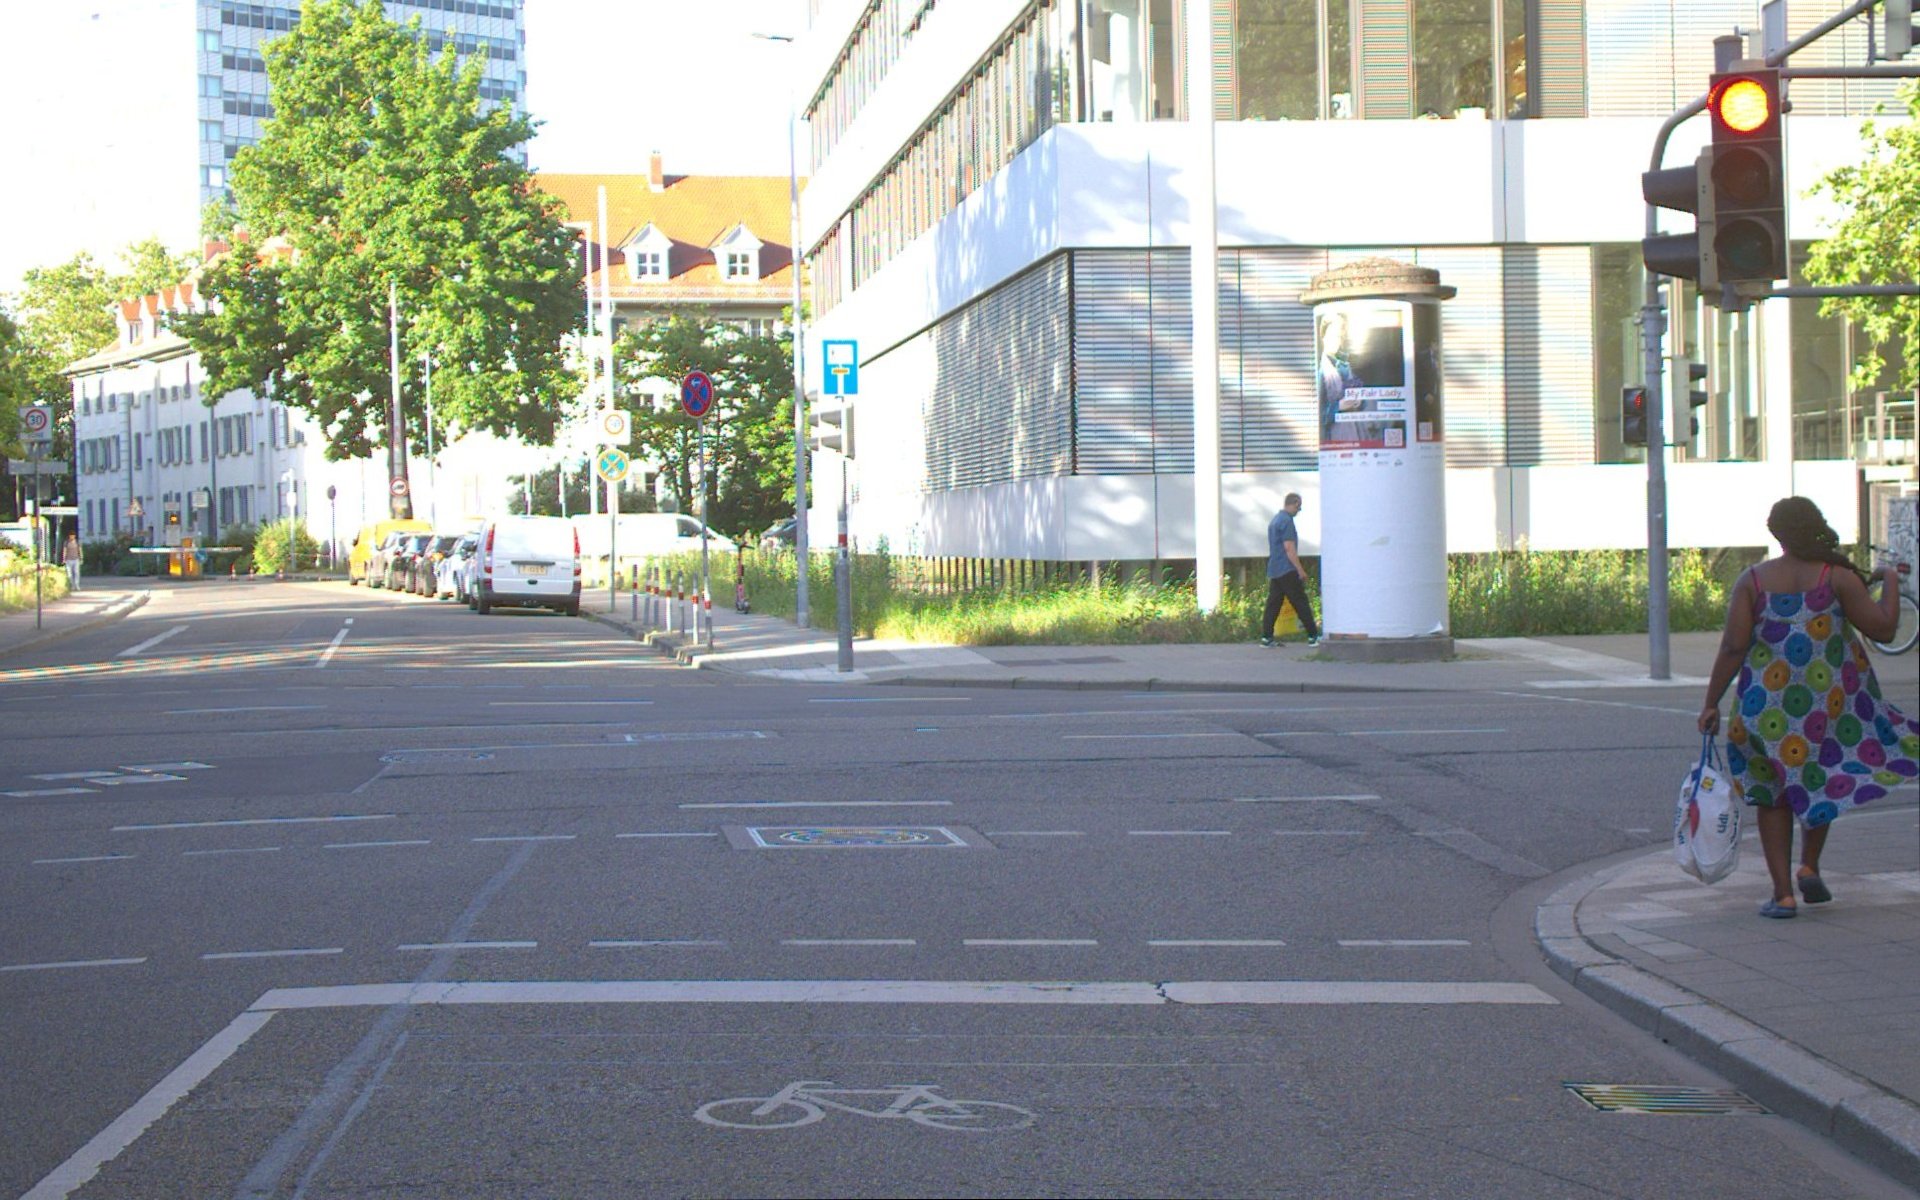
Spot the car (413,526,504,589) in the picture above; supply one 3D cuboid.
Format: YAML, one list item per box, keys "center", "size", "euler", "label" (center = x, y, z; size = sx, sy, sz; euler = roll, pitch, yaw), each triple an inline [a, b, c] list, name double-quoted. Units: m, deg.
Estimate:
- center: [-11.882, -1.015, 81.331]
  size: [1.703, 1.419, 4.239]
  euler: [-1, 1, -14]
  label: "car"

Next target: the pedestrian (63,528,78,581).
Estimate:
- center: [-25.696, -1.311, 99.291]
  size: [0.380, 1.529, 0.446]
  euler: [-1, 1, -12]
  label: "pedestrian"

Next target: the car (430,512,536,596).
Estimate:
- center: [-10.644, -1.039, 76.475]
  size: [1.946, 1.789, 4.239]
  euler: [-1, 1, -13]
  label: "car"

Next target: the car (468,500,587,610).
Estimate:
- center: [-8.164, -0.862, 64.653]
  size: [2.066, 1.956, 4.239]
  euler: [-1, 1, -9]
  label: "car"

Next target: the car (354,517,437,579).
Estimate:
- center: [-15.731, -1.469, 95.670]
  size: [2.100, 1.652, 4.477]
  euler: [-1, 1, -11]
  label: "car"

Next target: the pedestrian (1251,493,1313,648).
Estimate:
- center: [3.640, -0.339, 38.886]
  size: [0.652, 1.730, 0.812]
  euler: [-1, 1, 4]
  label: "pedestrian"

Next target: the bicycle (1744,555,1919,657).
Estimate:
- center: [9.181, 0.053, 36.127]
  size: [0.463, 1.045, 1.914]
  euler: [-2, 2, -42]
  label: "bicycle"

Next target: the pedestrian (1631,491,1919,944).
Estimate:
- center: [3.104, 0.422, 12.891]
  size: [0.954, 1.568, 0.750]
  euler: [-6, 1, 6]
  label: "pedestrian"

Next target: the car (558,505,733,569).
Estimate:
- center: [-9.413, -1.859, 102.808]
  size: [4.880, 1.865, 2.001]
  euler: [0, 0, -16]
  label: "car"

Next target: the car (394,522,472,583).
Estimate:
- center: [-13.184, -1.207, 85.848]
  size: [1.703, 1.459, 4.239]
  euler: [-1, 1, -11]
  label: "car"
